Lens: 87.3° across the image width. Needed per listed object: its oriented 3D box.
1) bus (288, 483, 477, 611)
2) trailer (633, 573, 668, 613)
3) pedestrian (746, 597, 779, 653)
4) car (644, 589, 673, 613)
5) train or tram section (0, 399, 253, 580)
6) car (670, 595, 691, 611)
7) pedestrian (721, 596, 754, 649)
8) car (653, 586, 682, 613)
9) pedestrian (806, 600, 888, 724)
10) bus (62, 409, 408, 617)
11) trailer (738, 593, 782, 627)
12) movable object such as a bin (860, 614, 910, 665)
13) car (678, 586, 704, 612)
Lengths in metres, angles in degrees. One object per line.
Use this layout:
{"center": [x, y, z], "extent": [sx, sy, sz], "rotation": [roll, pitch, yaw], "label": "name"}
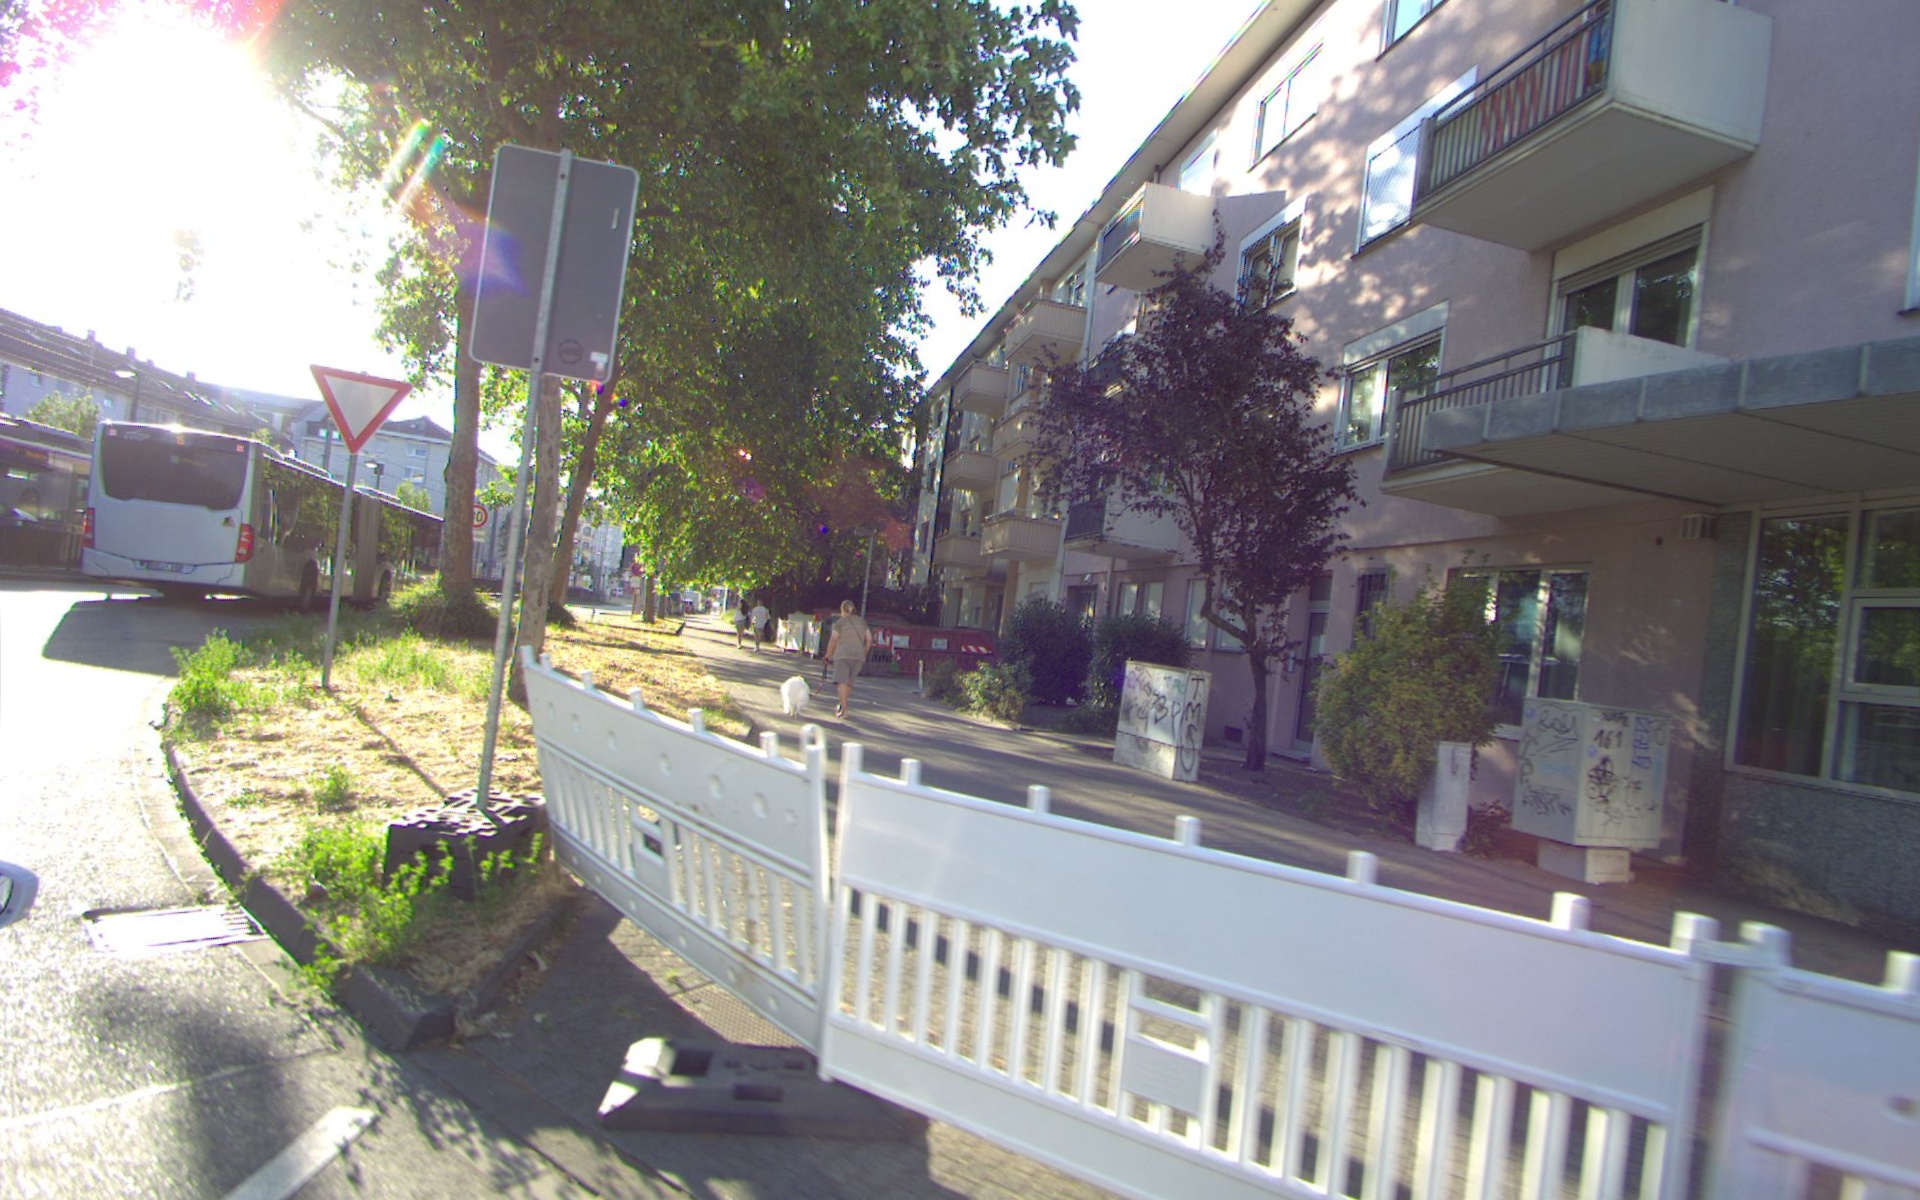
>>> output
{"center": [-17.827, -1.459, 31.798], "extent": [2.676, 3.143, 8.954], "rotation": [7, -1, -15], "label": "bus"}
{"center": [-22.040, -0.444, 71.753], "extent": [1.808, 2.588, 3.313], "rotation": [7, -1, -11], "label": "trailer"}
{"center": [-6.373, 0.809, 32.479], "extent": [0.781, 1.687, 0.814], "rotation": [7, 0, -16], "label": "pedestrian"}
{"center": [-23.575, 0.111, 78.676], "extent": [1.678, 1.606, 3.821], "rotation": [7, -2, -11], "label": "car"}
{"center": [-22.543, -2.602, 25.045], "extent": [2.606, 3.560, 13.311], "rotation": [7, -2, -11], "label": "train or tram section"}
{"center": [-27.848, 0.303, 100.369], "extent": [1.648, 1.480, 3.927], "rotation": [5, -2, -11], "label": "car"}
{"center": [-7.126, 0.715, 32.197], "extent": [0.781, 1.591, 0.813], "rotation": [7, 0, -16], "label": "pedestrian"}
{"center": [-24.591, 0.003, 84.734], "extent": [1.822, 1.979, 4.536], "rotation": [7, -2, -11], "label": "car"}
{"center": [-1.498, 0.794, 13.205], "extent": [0.781, 1.492, 0.814], "rotation": [7, 0, -16], "label": "pedestrian"}
{"center": [-15.190, -1.517, 22.383], "extent": [2.702, 3.176, 10.666], "rotation": [7, -1, -17], "label": "bus"}
{"center": [-15.111, 0.763, 76.170], "extent": [3.023, 2.094, 1.876], "rotation": [8, -1, -11], "label": "trailer"}
{"center": [-2.387, 1.270, 32.012], "extent": [1.274, 1.451, 0.841], "rotation": [7, -1, 8], "label": "movable object such as a bin"}
{"center": [-30.999, -0.044, 116.064], "extent": [2.252, 2.658, 5.301], "rotation": [7, -2, -11], "label": "car"}
